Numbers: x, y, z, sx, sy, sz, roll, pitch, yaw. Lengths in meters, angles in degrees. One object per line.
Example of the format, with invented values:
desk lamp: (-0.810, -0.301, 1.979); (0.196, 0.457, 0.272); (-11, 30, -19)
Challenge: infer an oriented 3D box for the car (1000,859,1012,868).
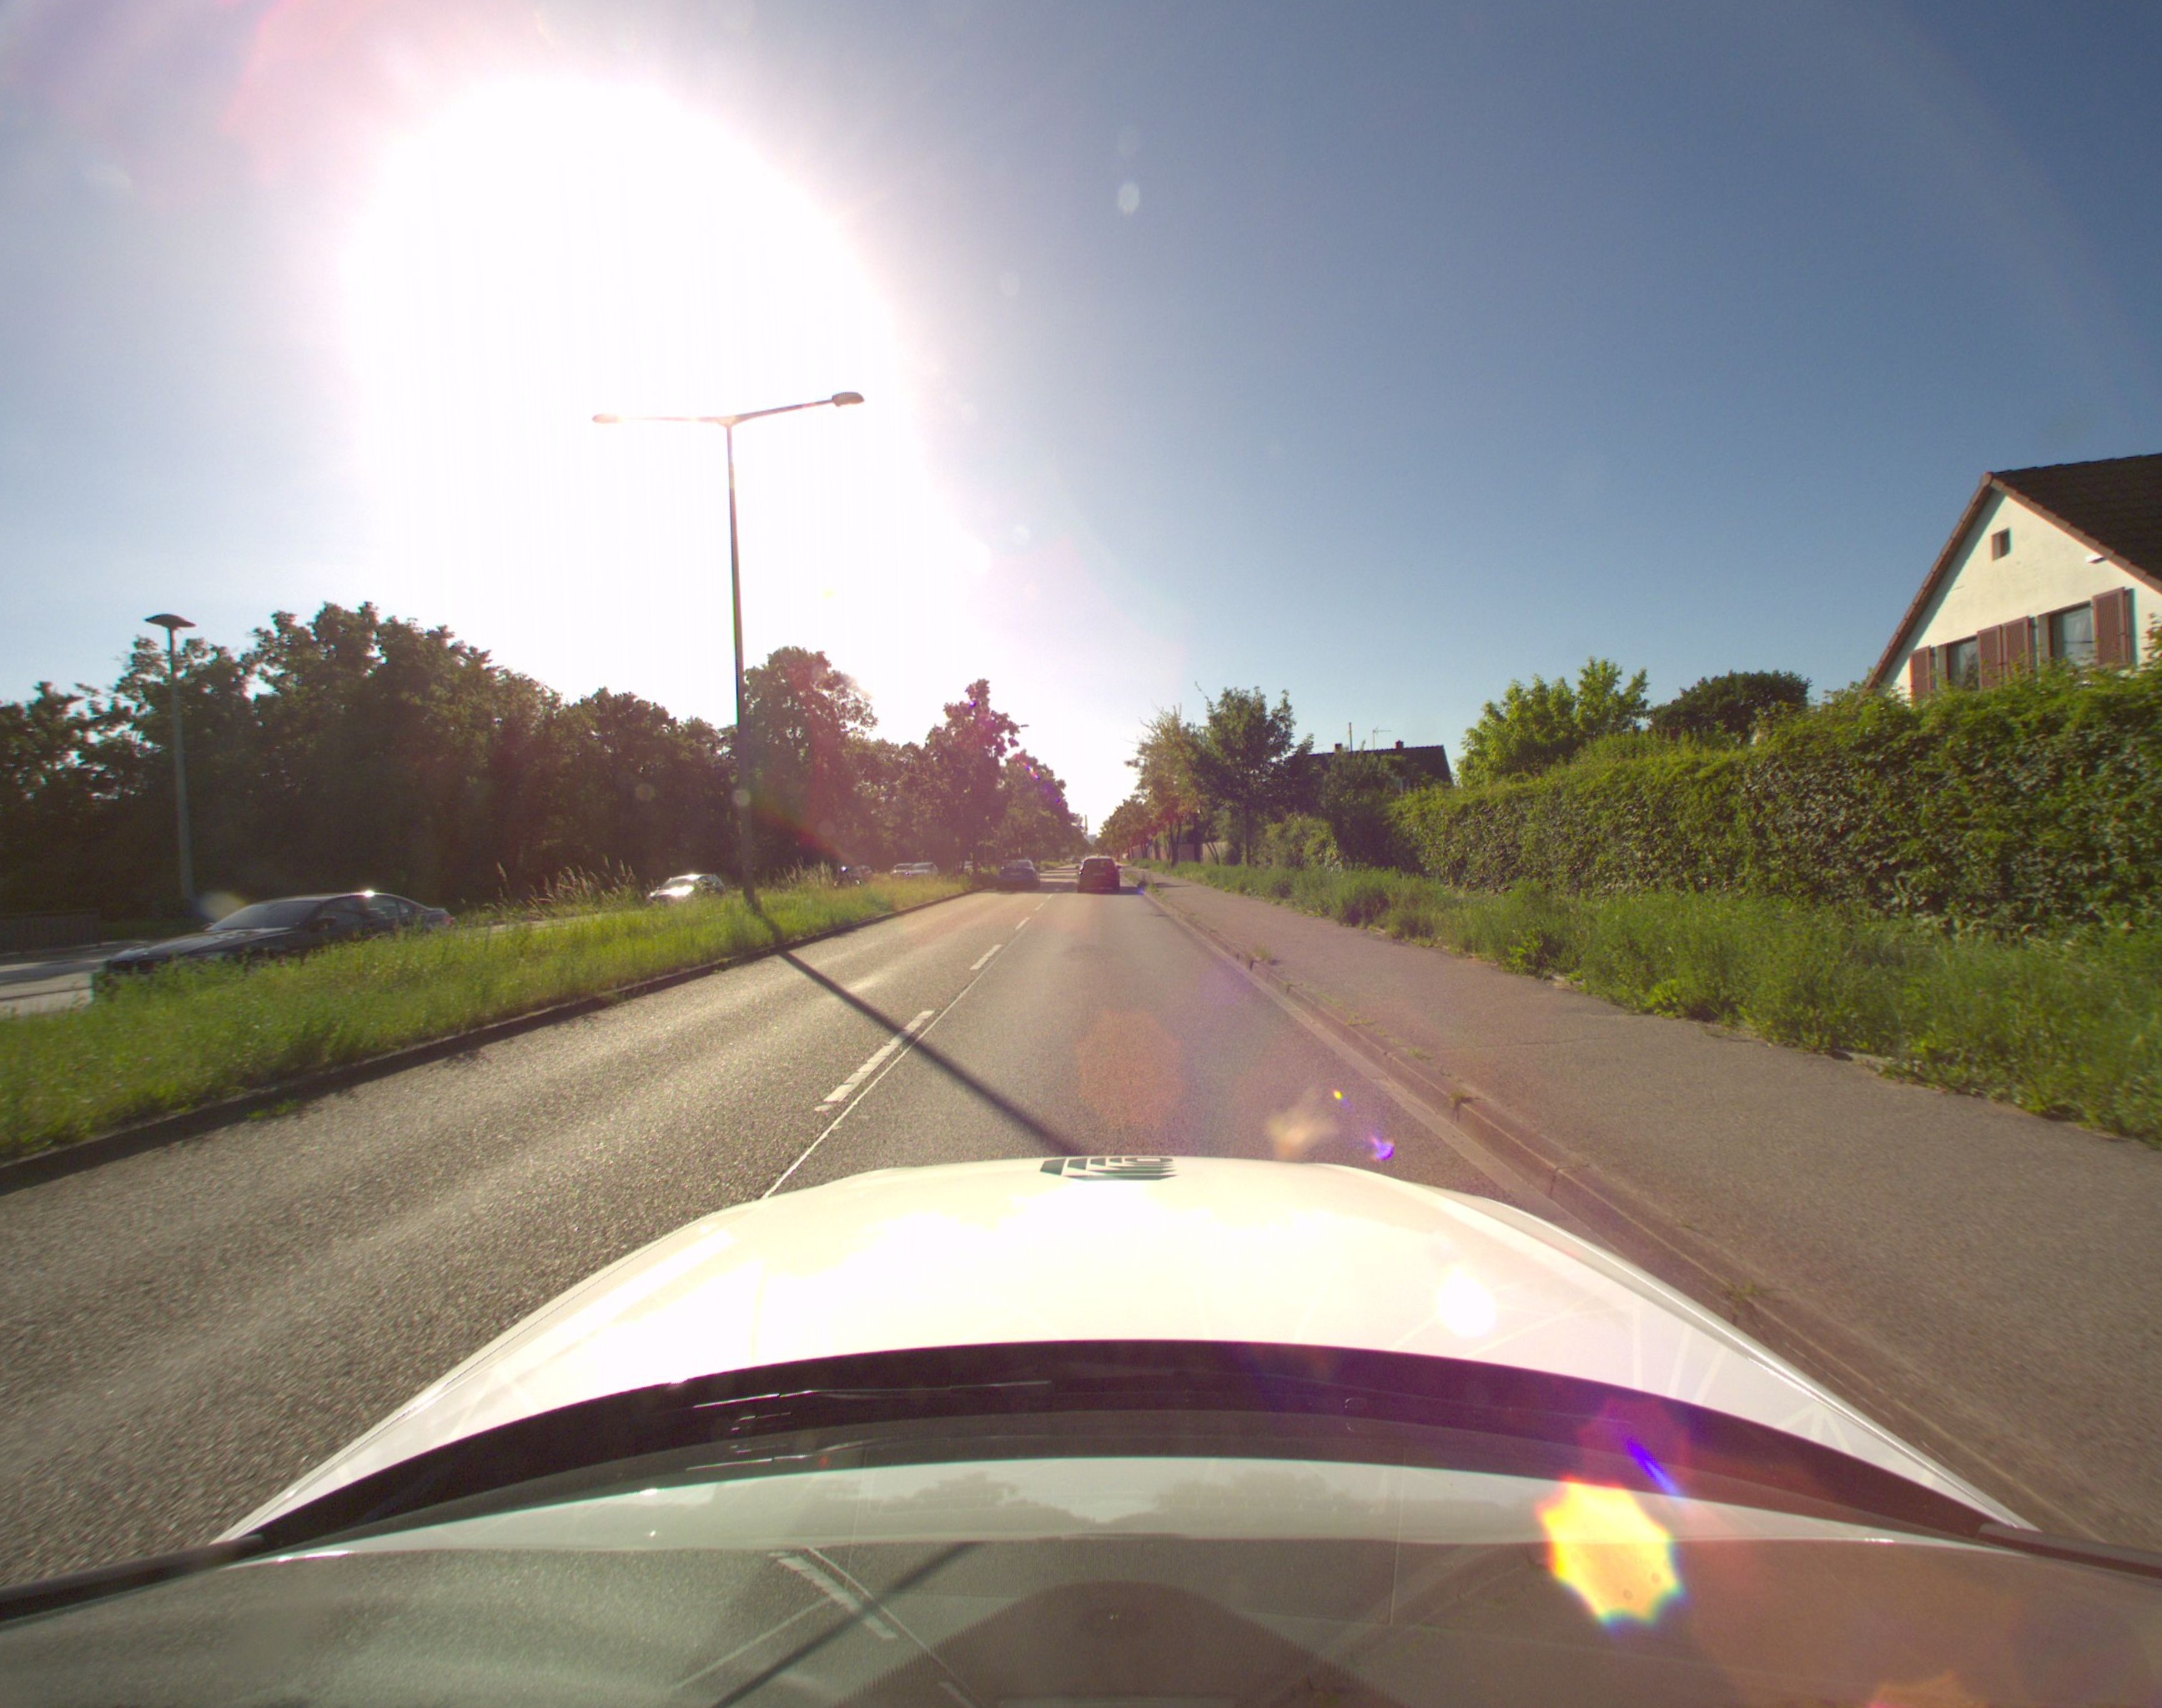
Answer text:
car: (-13.940, 1.786, 152.311); (1.708, 1.505, 3.018); (-4, 1, 3)

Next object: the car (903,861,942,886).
car: (-11.273, 1.359, 58.262); (1.707, 1.602, 4.361); (-2, 0, 2)

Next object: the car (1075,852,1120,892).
car: (0.724, 0.721, 34.540); (1.754, 1.559, 4.002); (-1, 0, 2)

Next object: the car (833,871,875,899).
car: (-15.215, 2.061, 54.782); (1.599, 1.563, 3.999); (-5, 0, 0)

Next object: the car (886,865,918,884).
car: (-15.269, 1.731, 69.493); (1.832, 1.413, 3.999); (-2, 0, -1)

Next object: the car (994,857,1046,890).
car: (-2.877, 0.901, 39.311); (1.987, 1.405, 4.002); (-2, 0, 2)

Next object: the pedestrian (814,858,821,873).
pedestrian: (-26.891, 1.160, 83.189); (0.542, 1.460, 0.596); (0, -1, 0)

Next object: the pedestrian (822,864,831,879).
pedestrian: (-25.961, 1.812, 83.097); (0.542, 1.460, 0.917); (-2, 0, 1)

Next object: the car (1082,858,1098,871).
car: (1.171, 1.346, 109.401); (1.740, 1.597, 4.169); (-2, 1, -4)

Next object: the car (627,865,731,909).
car: (-16.090, 1.276, 32.883); (1.799, 1.500, 4.596); (-2, 0, 0)

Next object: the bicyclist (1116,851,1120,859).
bicyclist: (6.118, 0.181, 135.293); (0.678, 1.418, 0.812); (-2, 0, 0)

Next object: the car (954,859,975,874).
car: (-14.308, 1.470, 99.877); (1.834, 1.589, 4.584); (-5, 0, -1)

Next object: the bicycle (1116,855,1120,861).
bicycle: (6.155, 0.702, 135.112); (0.653, 0.892, 1.875); (-2, 0, 1)

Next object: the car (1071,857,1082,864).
car: (-0.987, 1.320, 169.751); (1.974, 1.440, 3.996); (-2, 1, -3)

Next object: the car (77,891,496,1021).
car: (-12.232, 1.453, 13.194); (1.776, 1.361, 4.979); (-4, 0, 0)
